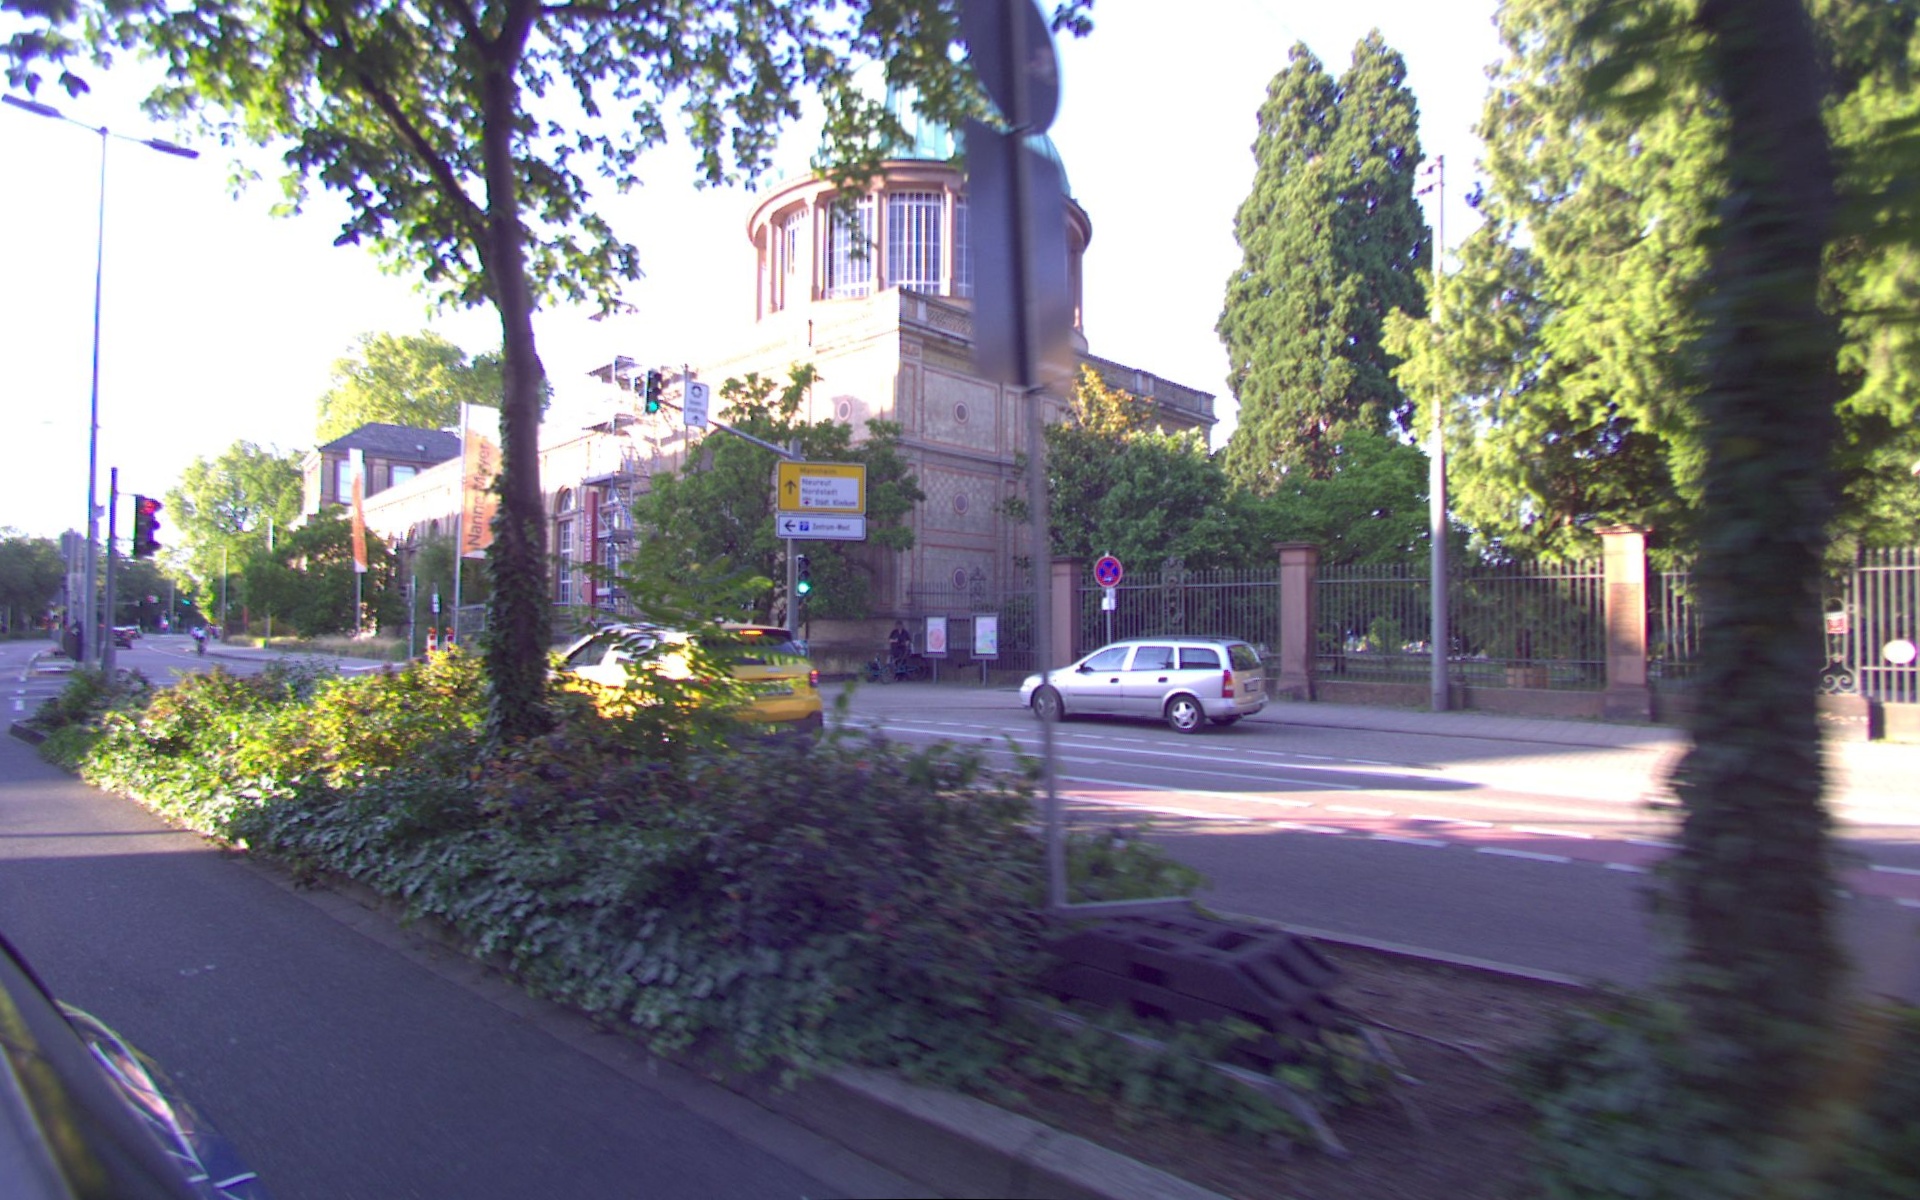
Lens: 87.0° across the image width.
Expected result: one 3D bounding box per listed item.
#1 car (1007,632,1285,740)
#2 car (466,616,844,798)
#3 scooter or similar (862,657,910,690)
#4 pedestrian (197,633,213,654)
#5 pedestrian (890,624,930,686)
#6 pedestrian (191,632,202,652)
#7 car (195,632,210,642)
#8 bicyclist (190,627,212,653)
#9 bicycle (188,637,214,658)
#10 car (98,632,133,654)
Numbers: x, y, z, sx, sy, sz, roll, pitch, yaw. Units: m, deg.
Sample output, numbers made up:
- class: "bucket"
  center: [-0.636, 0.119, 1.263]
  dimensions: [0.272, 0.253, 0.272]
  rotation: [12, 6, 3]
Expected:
- class: "car"
  center: [3.051, 1.350, 17.181]
  dimensions: [4.366, 1.559, 1.727]
  rotation: [-1, -1, 40]
- class: "car"
  center: [-3.331, 0.990, 10.712]
  dimensions: [4.114, 1.559, 1.827]
  rotation: [-2, -3, 39]
- class: "scooter or similar"
  center: [-1.855, 1.831, 25.407]
  dimensions: [1.028, 0.783, 0.670]
  rotation: [-2, -3, 41]
- class: "pedestrian"
  center: [-62.105, 3.583, 83.237]
  dimensions: [0.795, 1.751, 0.852]
  rotation: [1, -2, -17]
- class: "pedestrian"
  center: [-1.307, 1.429, 26.522]
  dimensions: [0.762, 1.591, 0.728]
  rotation: [-2, -3, 42]
- class: "pedestrian"
  center: [-62.523, 3.429, 82.873]
  dimensions: [0.665, 1.524, 0.837]
  rotation: [-3, -1, -38]
- class: "car"
  center: [-127.070, 6.169, 169.783]
  dimensions: [1.890, 1.697, 4.010]
  rotation: [1, -2, -35]
- class: "bicyclist"
  center: [-42.435, 2.236, 56.592]
  dimensions: [0.937, 1.471, 0.739]
  rotation: [-2, -4, 42]
- class: "bicycle"
  center: [-42.409, 2.657, 56.546]
  dimensions: [1.932, 1.099, 0.745]
  rotation: [-2, -5, 42]
- class: "car"
  center: [-59.339, 3.001, 71.164]
  dimensions: [1.800, 1.519, 4.435]
  rotation: [2, -3, -39]
